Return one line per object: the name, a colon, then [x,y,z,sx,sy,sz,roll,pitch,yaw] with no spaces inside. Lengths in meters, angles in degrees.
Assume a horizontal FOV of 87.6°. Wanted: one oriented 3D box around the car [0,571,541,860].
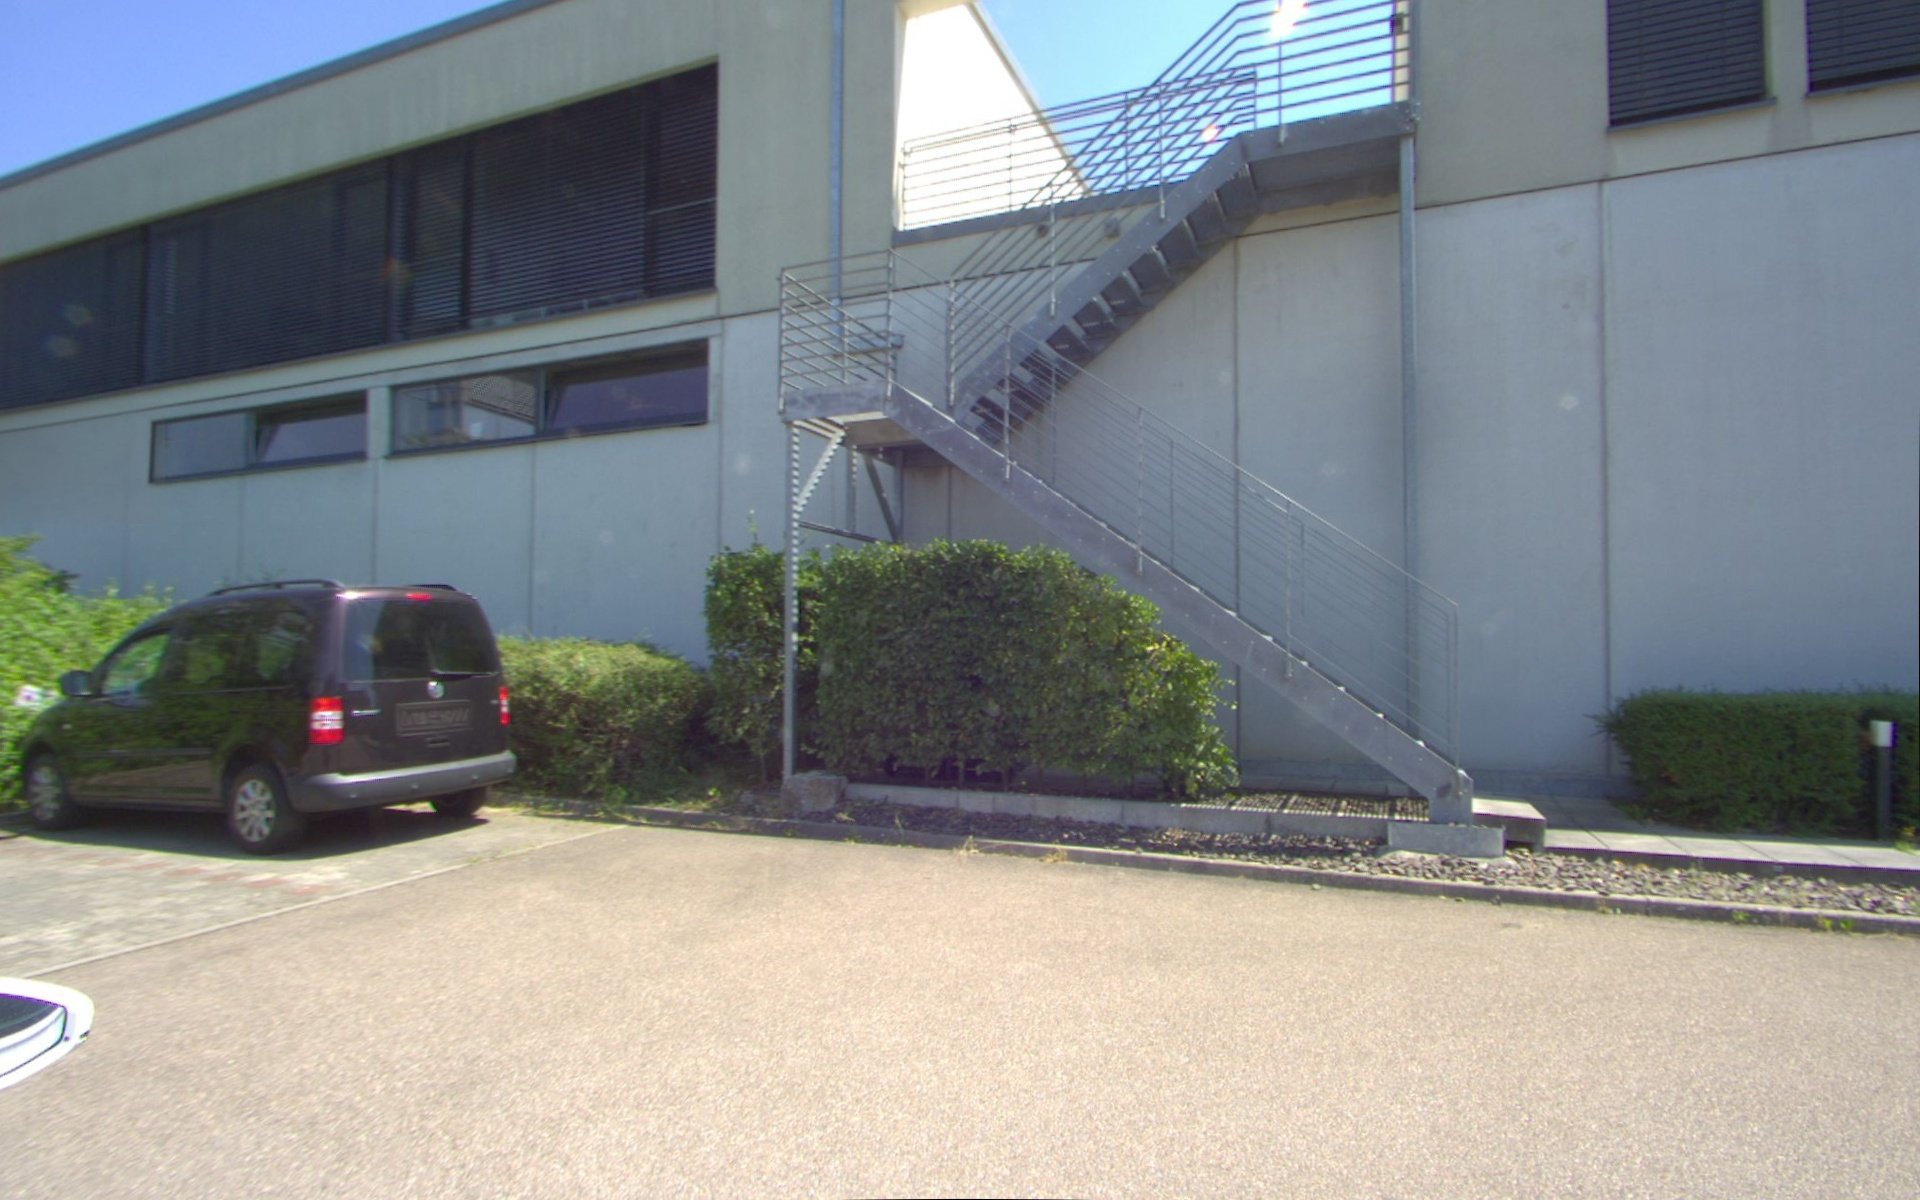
car: [-5.526,0.811,8.025,3.933,1.860,1.745,-1,-2,23]
